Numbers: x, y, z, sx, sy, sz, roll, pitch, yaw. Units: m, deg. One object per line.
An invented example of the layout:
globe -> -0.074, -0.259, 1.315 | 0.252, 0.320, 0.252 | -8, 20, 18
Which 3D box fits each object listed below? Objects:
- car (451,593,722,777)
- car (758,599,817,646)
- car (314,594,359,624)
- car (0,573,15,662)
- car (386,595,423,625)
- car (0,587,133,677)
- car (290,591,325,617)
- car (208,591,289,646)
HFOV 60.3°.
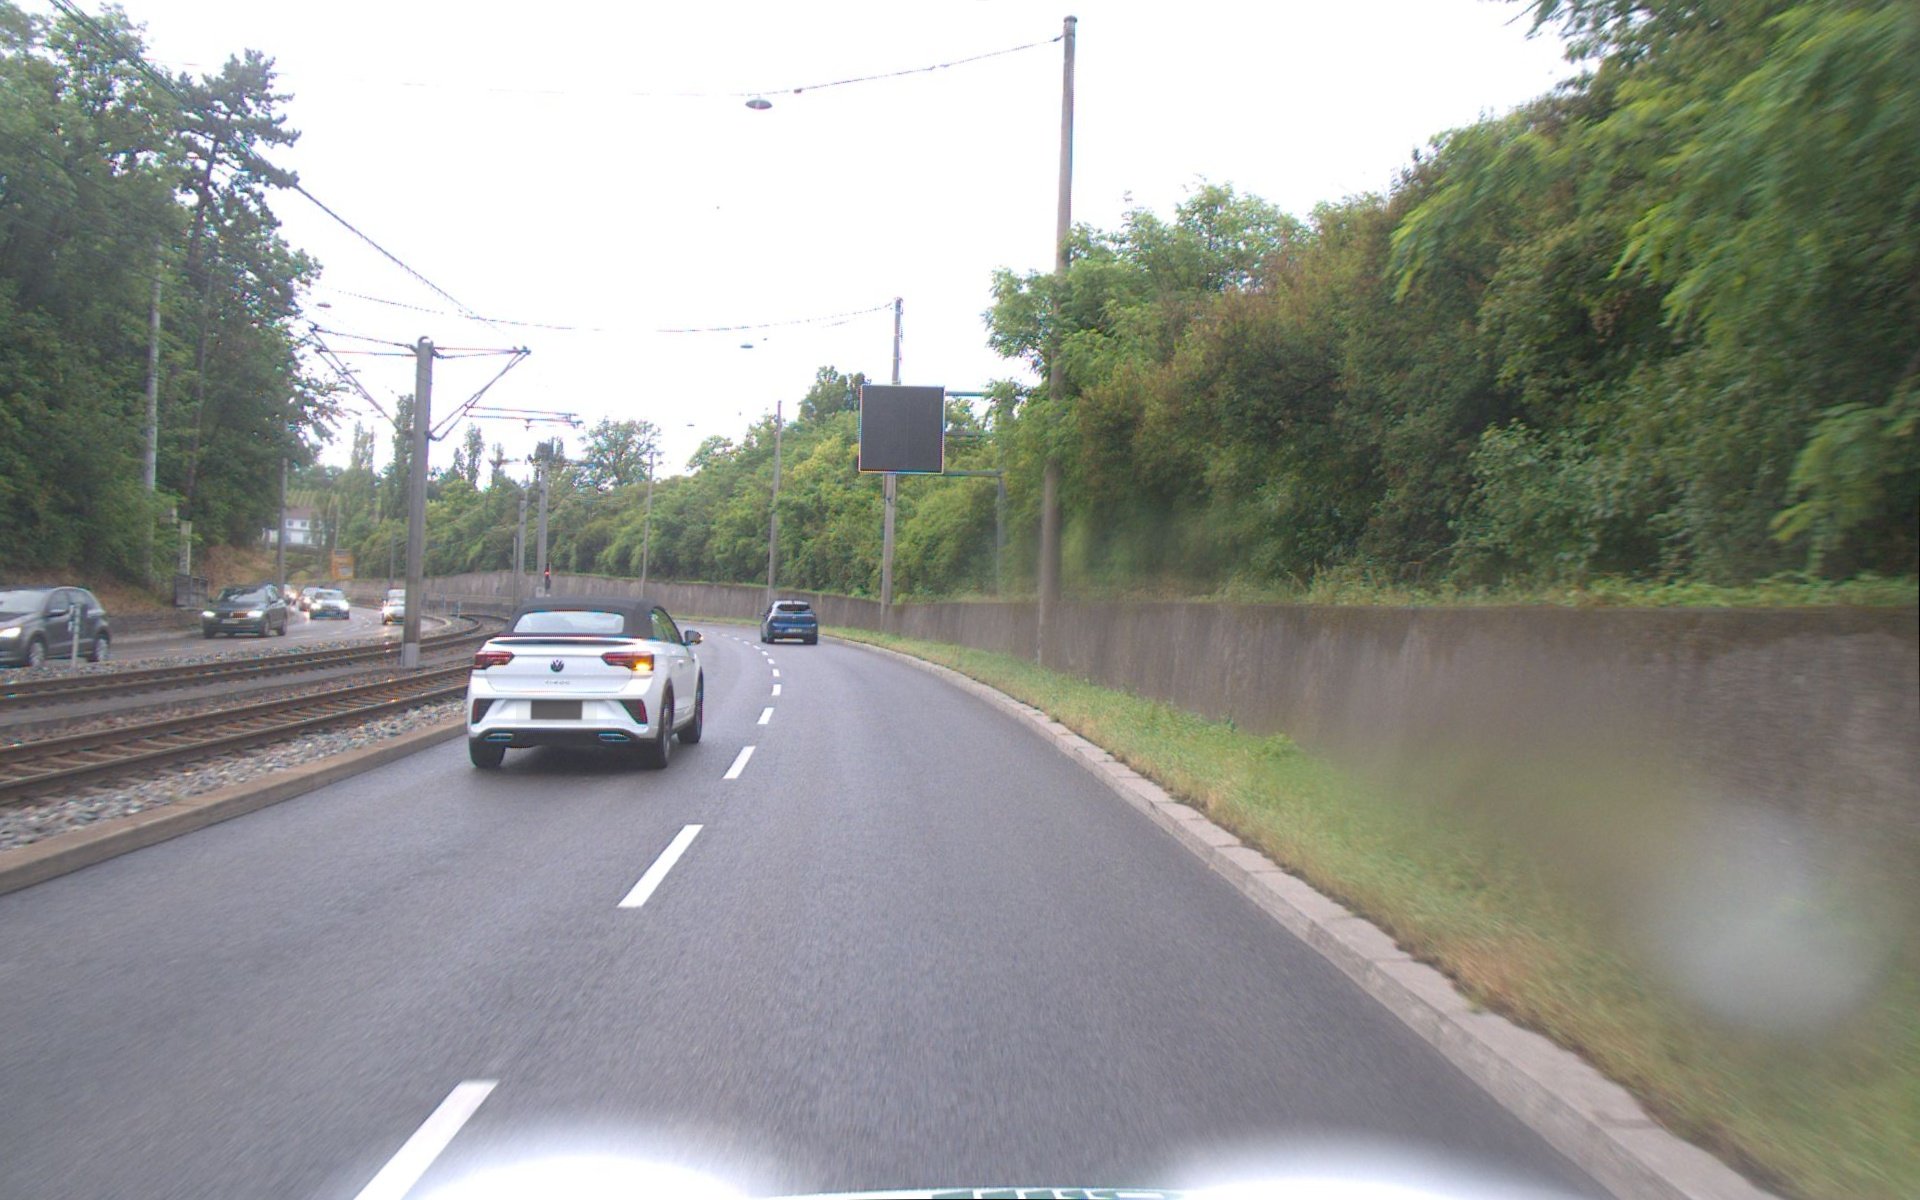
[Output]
car -> -3.499, 0.718, 16.336 | 1.834, 1.551, 4.538 | 0, 0, -3
car -> -6.037, 0.749, 57.577 | 1.731, 1.527, 3.990 | 1, 0, -10
car -> -31.775, 0.446, 84.237 | 1.793, 1.487, 4.623 | 0, 0, -25
car -> -19.096, 0.331, 29.721 | 1.749, 1.699, 4.736 | 1, 0, -4
car -> -24.840, 0.431, 73.962 | 1.520, 1.280, 3.937 | -1, 0, -19
car -> -15.988, 0.505, 28.367 | 1.671, 1.439, 4.030 | 1, 0, -2
car -> -41.026, 0.225, 103.883 | 1.723, 1.542, 4.538 | 0, 0, -26
car -> -22.522, 0.548, 52.503 | 1.679, 1.636, 4.394 | -1, 0, -14
